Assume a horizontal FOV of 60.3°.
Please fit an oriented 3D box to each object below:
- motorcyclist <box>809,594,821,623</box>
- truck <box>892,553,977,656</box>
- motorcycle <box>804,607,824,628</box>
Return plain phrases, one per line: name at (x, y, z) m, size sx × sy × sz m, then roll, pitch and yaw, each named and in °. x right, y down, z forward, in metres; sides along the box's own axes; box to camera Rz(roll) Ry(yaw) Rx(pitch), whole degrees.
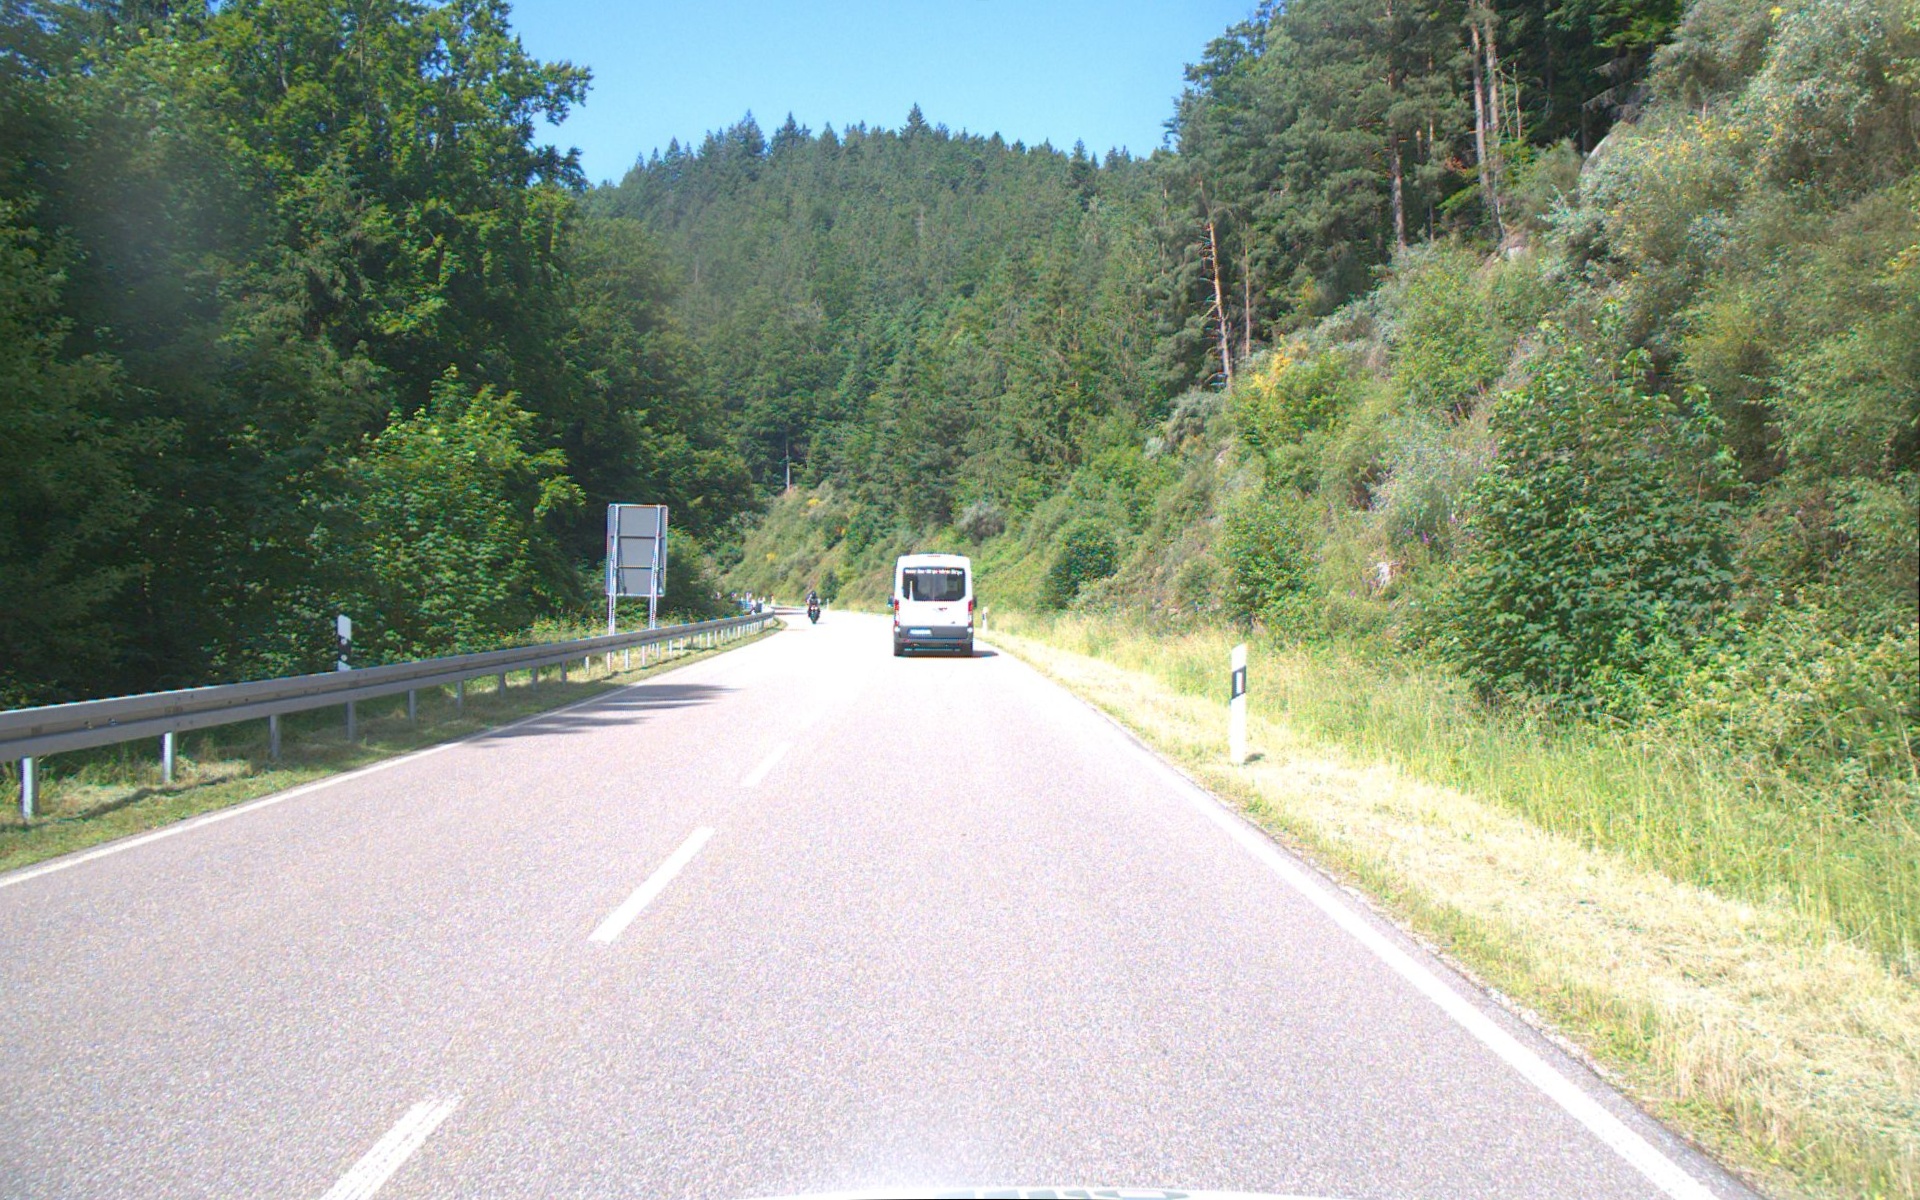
motorcyclist at (-7.804, 0.454, 88.986) m, size 0.645 × 1.539 × 0.933 m, roll 0°, pitch 0°, yaw -3°
truck at (-0.713, 0.101, 42.390) m, size 2.042 × 2.502 × 4.872 m, roll 0°, pitch 0°, yaw -2°
motorcycle at (-7.851, 0.935, 88.994) m, size 0.965 × 1.090 × 1.962 m, roll 0°, pitch 0°, yaw -2°
